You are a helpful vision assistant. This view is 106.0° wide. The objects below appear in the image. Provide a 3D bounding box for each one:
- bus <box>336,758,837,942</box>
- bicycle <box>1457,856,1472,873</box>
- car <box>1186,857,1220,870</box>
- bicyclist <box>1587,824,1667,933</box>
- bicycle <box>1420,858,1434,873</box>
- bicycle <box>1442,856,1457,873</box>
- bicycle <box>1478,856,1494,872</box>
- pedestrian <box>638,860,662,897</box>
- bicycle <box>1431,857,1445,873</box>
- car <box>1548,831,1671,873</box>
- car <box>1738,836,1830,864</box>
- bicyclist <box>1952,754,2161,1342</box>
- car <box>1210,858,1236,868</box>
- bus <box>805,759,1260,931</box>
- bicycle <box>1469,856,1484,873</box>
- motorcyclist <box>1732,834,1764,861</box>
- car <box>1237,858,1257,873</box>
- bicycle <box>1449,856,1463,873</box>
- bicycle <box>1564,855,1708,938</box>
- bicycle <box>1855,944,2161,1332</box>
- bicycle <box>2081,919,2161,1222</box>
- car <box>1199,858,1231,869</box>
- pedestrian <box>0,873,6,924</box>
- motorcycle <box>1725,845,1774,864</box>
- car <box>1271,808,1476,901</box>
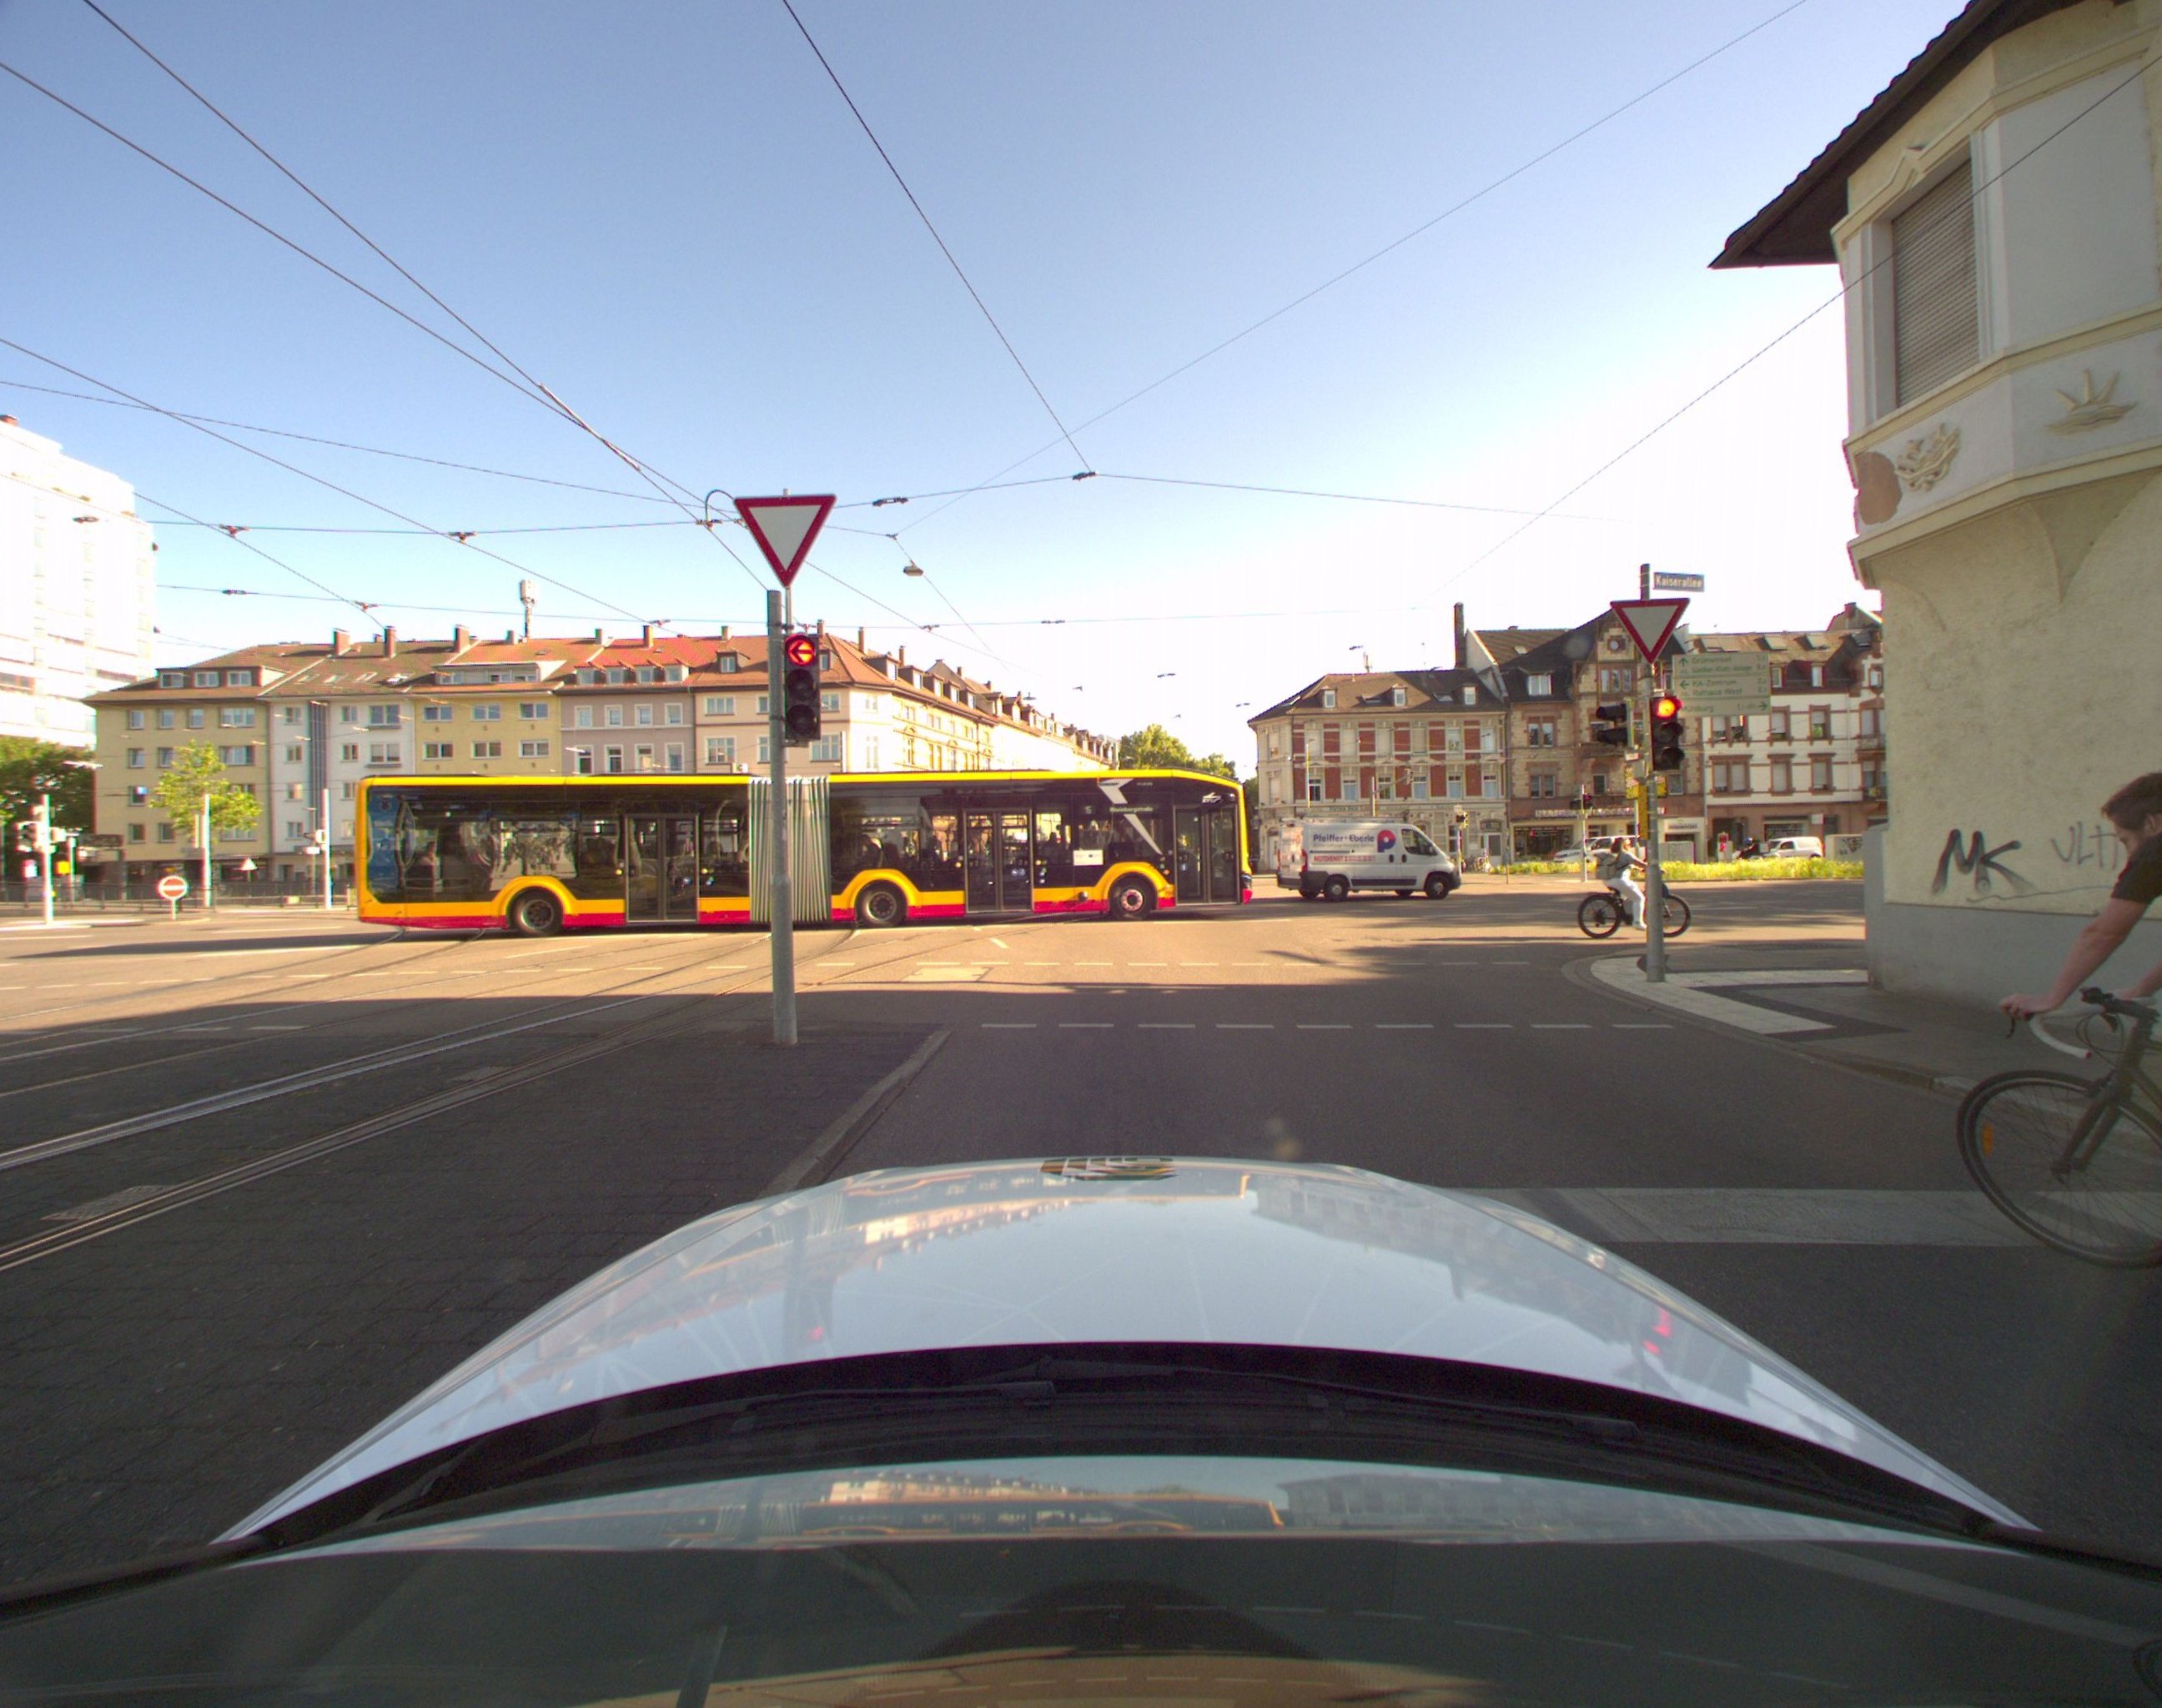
[{"bbox_3d":[-9.871,-0.124,17.208,8.603,3.457,2.781,0,1,-6],"label":"bus"},{"bbox_3d":[24.817,0.670,52.728,0.483,1.020,1.789,-1,0,12],"label":"bicycle"},{"bbox_3d":[14.960,1.145,99.520,3.959,1.454,1.687,-1,0,13],"label":"car"},{"bbox_3d":[8.937,0.391,13.364,0.796,1.715,0.734,-1,0,0],"label":"bicyclist"},{"bbox_3d":[22.483,0.726,52.991,0.483,0.914,1.789,-1,0,12],"label":"bicycle"},{"bbox_3d":[23.855,0.678,52.769,0.483,1.020,1.789,-1,0,12],"label":"bicycle"},{"bbox_3d":[26.333,0.661,52.931,0.483,1.020,1.789,-1,0,12],"label":"bicycle"},{"bbox_3d":[-21.683,1.223,40.970,0.764,1.829,0.723,-1,0,1],"label":"pedestrian"},{"bbox_3d":[23.159,0.716,52.888,0.483,1.020,1.789,-1,0,12],"label":"bicycle"},{"bbox_3d":[27.124,-0.089,41.906,4.962,2.013,2.001,-1,0,1],"label":"car"},{"bbox_3d":[45.292,-0.251,52.497,4.239,1.622,1.999,-1,0,-1],"label":"car"},{"bbox_3d":[3.561,0.578,2.512,0.649,1.767,0.995,-1,0,2],"label":"bicyclist"},{"bbox_3d":[19.378,1.201,111.203,3.409,1.239,1.582,-1,0,13],"label":"car"},{"bbox_3d":[-0.975,-0.226,18.242,9.400,3.457,2.774,0,1,-7],"label":"bus"},{"bbox_3d":[25.629,0.665,52.776,0.483,1.020,1.789,-1,0,12],"label":"bicycle"},{"bbox_3d":[34.120,-0.332,41.694,0.999,1.355,0.744,-1,0,1],"label":"motorcyclist"},{"bbox_3d":[16.798,1.122,82.306,1.742,1.420,4.016,-1,0,14],"label":"car"},{"bbox_3d":[24.314,0.675,52.819,0.483,1.020,1.789,-1,0,12],"label":"bicycle"},{"bbox_3d":[9.074,0.680,13.361,1.934,1.299,0.623,-1,0,0],"label":"bicycle"},{"bbox_3d":[3.563,0.920,2.515,0.568,1.058,1.890,-1,0,2],"label":"bicycle"},{"bbox_3d":[4.506,0.859,2.500,0.568,1.165,1.890,-1,0,2],"label":"bicycle"},{"bbox_3d":[17.333,1.213,105.174,3.959,1.288,1.700,-1,0,13],"label":"car"},{"bbox_3d":[-34.932,1.439,25.746,0.770,1.611,0.794,-1,0,-5],"label":"pedestrian"},{"bbox_3d":[34.199,0.030,41.668,2.033,0.897,0.562,-1,0,1],"label":"motorcycle"},{"bbox_3d":[8.267,0.003,23.286,5.104,2.432,2.077,-1,-1,-6],"label":"car"}]
